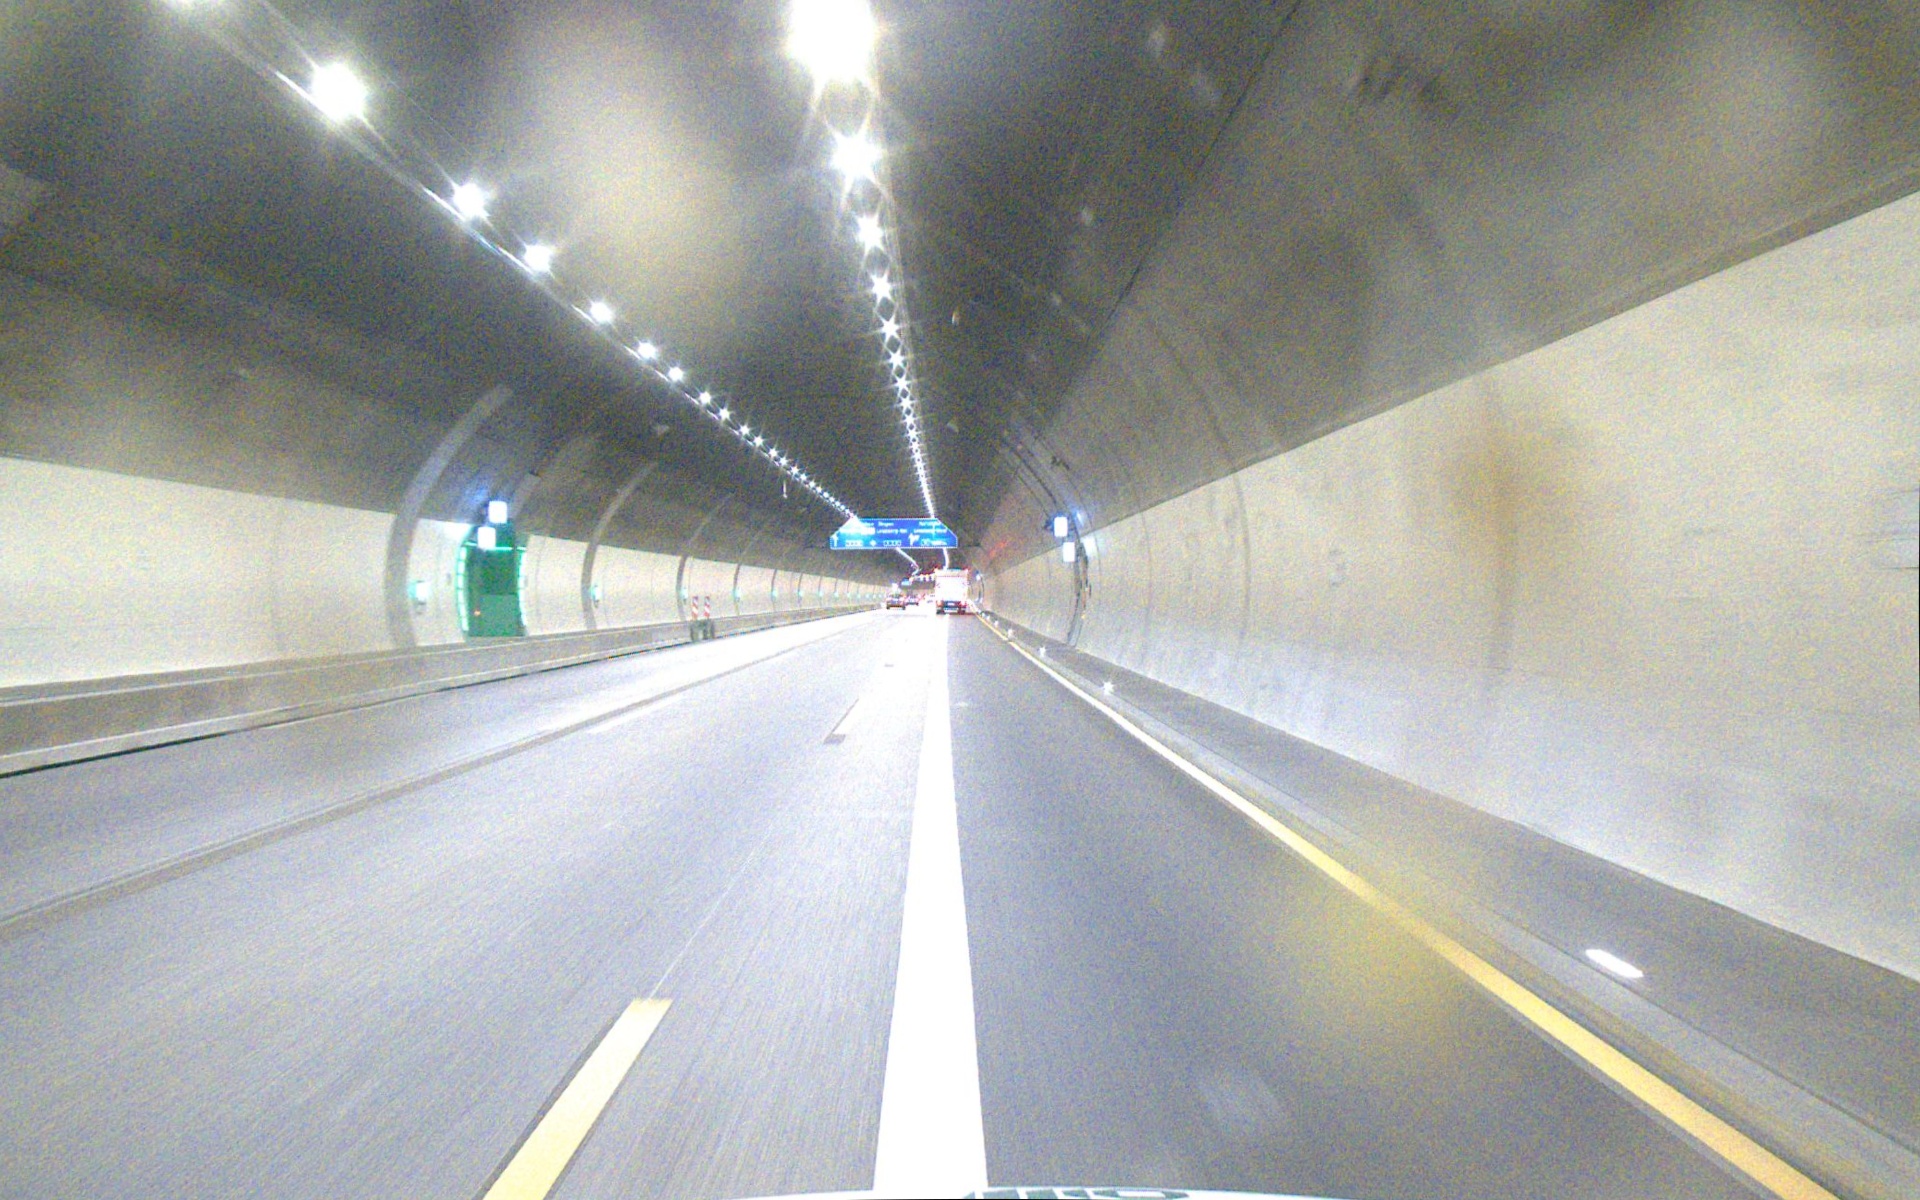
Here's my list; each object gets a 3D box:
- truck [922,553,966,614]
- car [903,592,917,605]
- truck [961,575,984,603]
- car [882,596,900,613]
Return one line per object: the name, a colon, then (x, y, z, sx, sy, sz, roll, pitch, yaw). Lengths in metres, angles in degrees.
truck: (-1.452, -1.335, 137.173, 3.212, 4.731, 17.279, 0, 0, -2)
car: (-6.595, -0.214, 218.430, 1.777, 1.546, 3.998, 1, 2, -4)
truck: (1.861, -1.629, 249.993, 2.864, 4.118, 14.024, 0, 0, -2)
car: (-6.777, 0.443, 162.019, 1.776, 1.646, 3.998, 1, 0, -3)
